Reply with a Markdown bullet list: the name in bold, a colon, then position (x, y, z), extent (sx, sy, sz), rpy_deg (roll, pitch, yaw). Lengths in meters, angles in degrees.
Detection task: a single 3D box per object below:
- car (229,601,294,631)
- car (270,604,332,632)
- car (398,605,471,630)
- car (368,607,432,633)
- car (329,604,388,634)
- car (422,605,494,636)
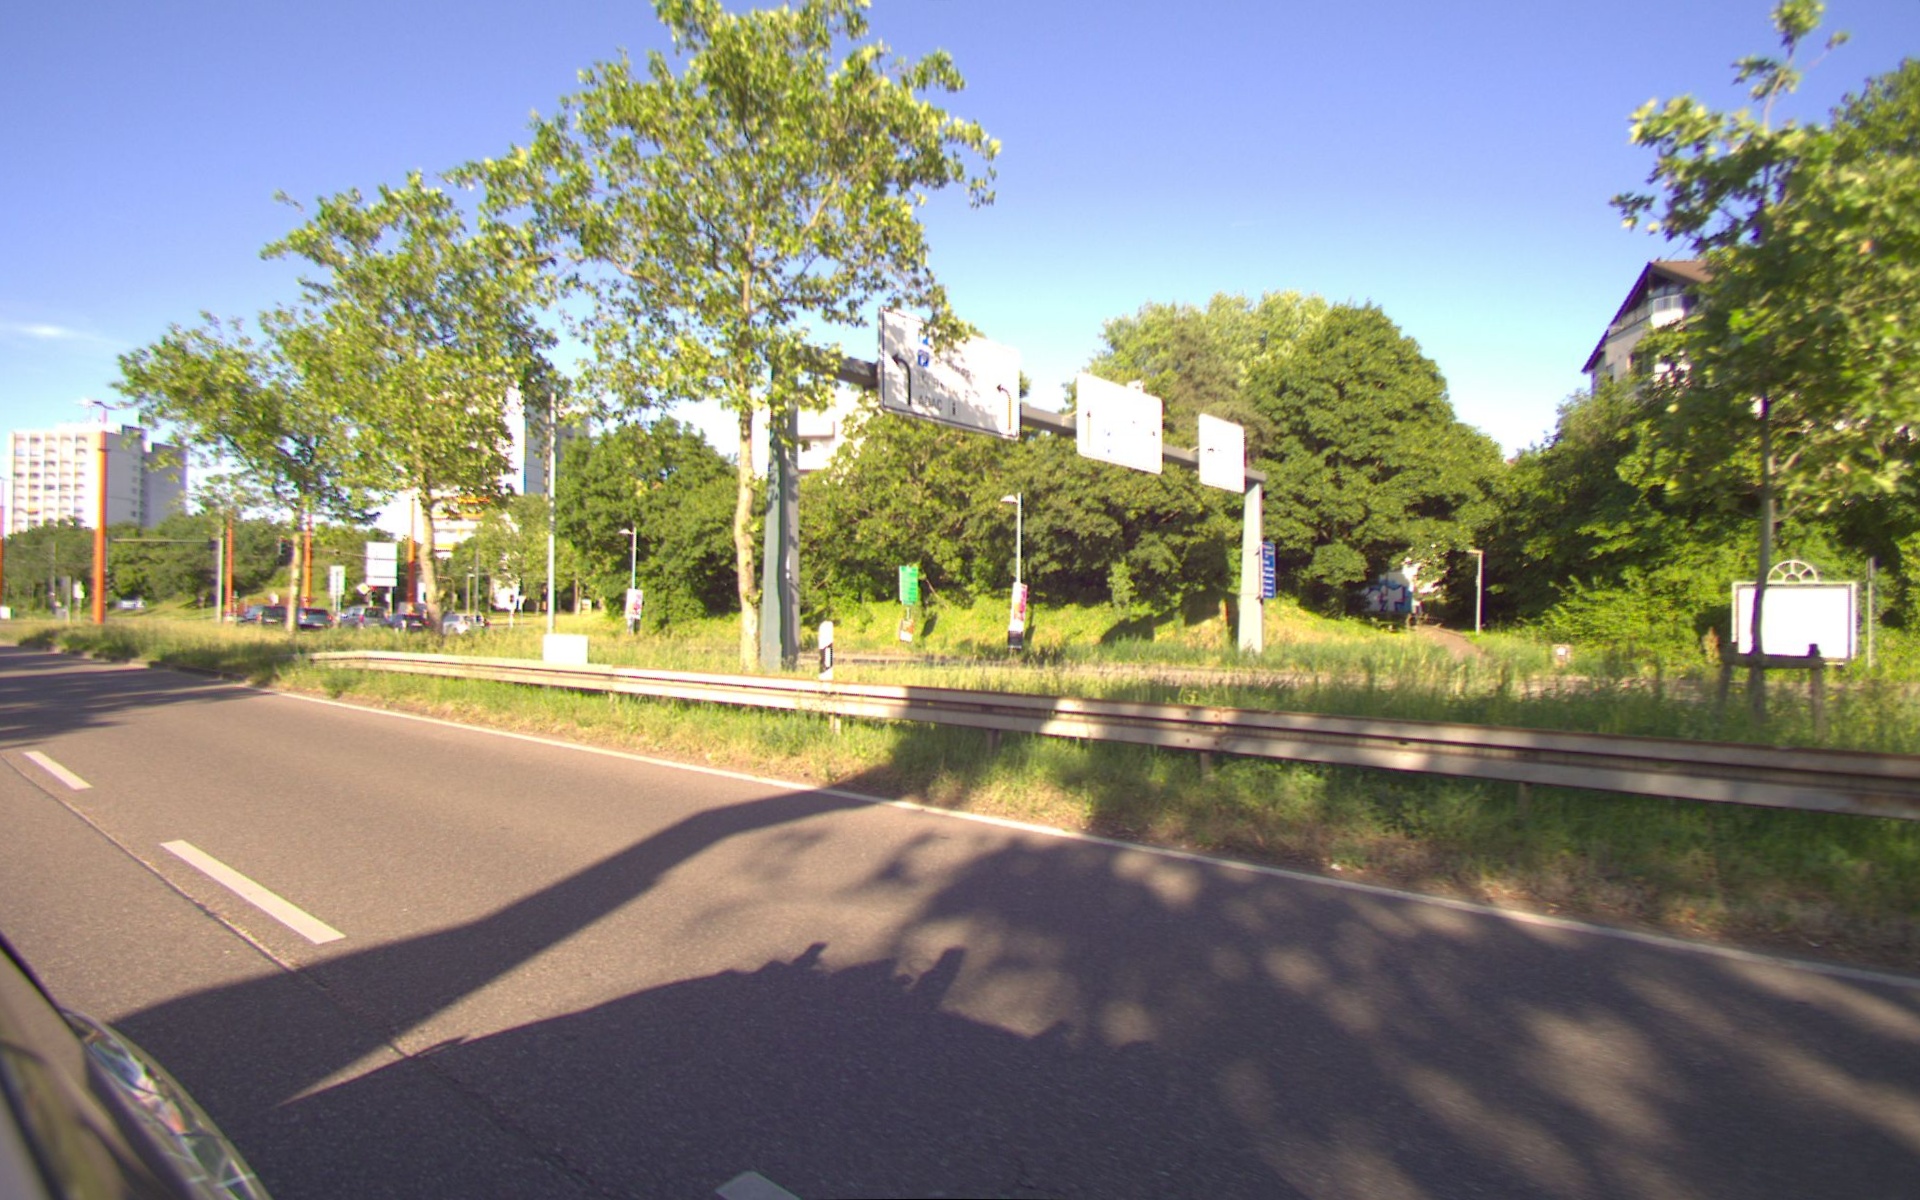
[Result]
- **car**: position (-39.523, 0.897, 57.230), extent (4.562, 1.577, 1.879), rpy_deg (-1, -3, 40)
- **car**: position (-40.201, 1.098, 61.692), extent (4.562, 1.623, 1.879), rpy_deg (-1, -3, 40)
- **car**: position (-46.892, 1.563, 90.462), extent (2.035, 2.221, 5.599), rpy_deg (0, -1, 32)
- **car**: position (-33.708, 1.191, 60.869), extent (4.562, 1.485, 1.879), rpy_deg (-1, -3, 40)
- **car**: position (-38.730, 1.211, 65.127), extent (4.443, 1.789, 1.879), rpy_deg (-1, -3, 40)
- **car**: position (-27.985, 1.155, 56.352), extent (4.562, 1.623, 1.879), rpy_deg (-1, -3, 40)
